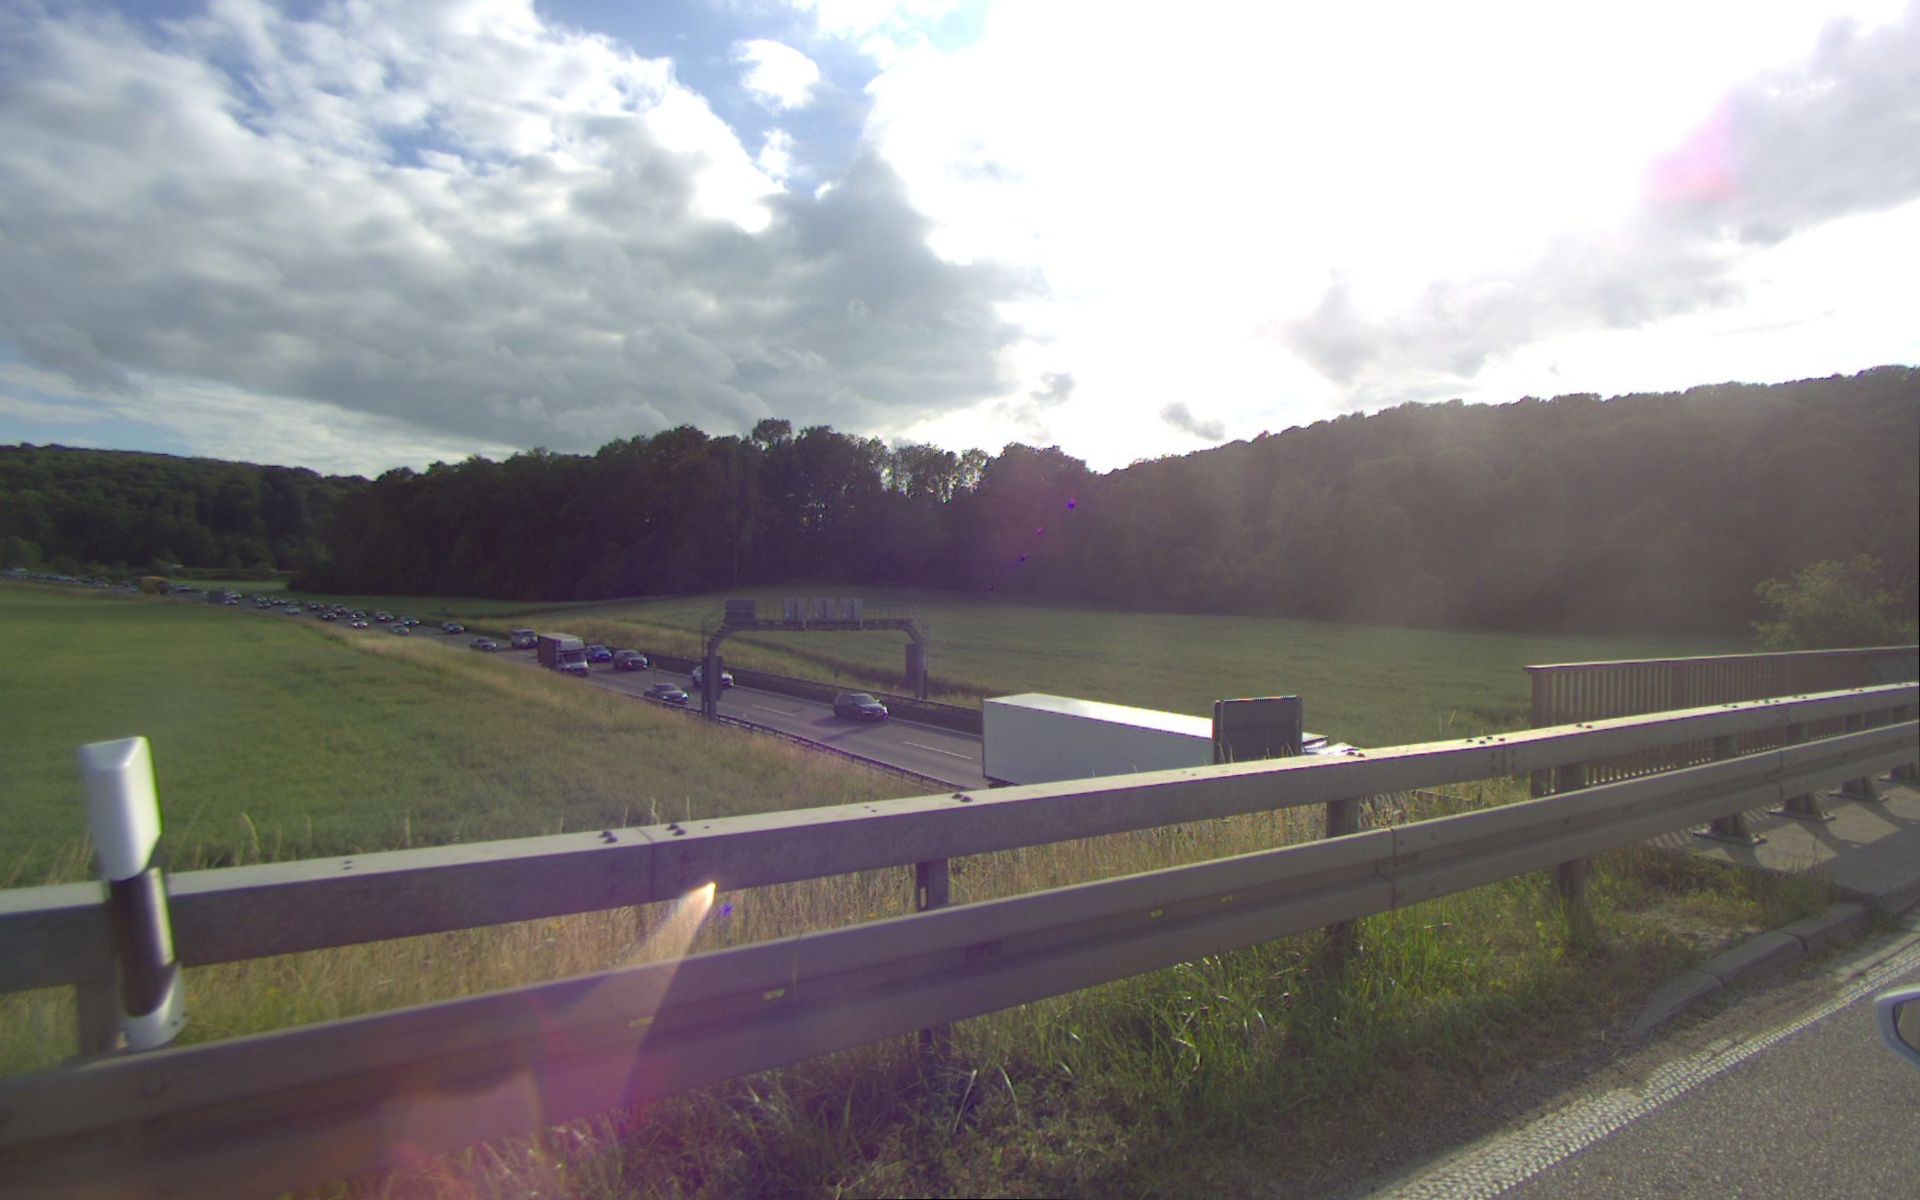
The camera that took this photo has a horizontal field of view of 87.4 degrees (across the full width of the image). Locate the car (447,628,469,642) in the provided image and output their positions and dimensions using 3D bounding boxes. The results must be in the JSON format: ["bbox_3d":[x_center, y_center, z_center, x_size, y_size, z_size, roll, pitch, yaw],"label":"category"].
[{"bbox_3d":[-67.630,4.669,135.365,1.788,1.608,3.952,2,0,-40],"label":"car"}]

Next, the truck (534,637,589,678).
[{"bbox_3d":[-34.654,4.976,87.207,2.105,3.450,8.403,1,-3,-38],"label":"truck"}]

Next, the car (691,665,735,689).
[{"bbox_3d":[-18.788,5.817,76.204,1.812,1.671,3.957,1,-2,-38],"label":"car"}]

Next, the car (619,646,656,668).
[{"bbox_3d":[-28.810,5.051,89.660,1.812,1.672,3.956,1,0,-38],"label":"car"}]

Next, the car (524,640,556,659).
[{"bbox_3d":[-45.982,5.367,109.892,1.985,1.750,3.952,7,-3,-40],"label":"car"}]

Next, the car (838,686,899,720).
[{"bbox_3d":[-5.460,6.107,59.775,1.807,1.555,3.958,2,0,-37],"label":"car"}]

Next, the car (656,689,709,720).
[{"bbox_3d":[-18.492,6.921,66.836,1.973,1.736,3.956,2,-3,-39],"label":"car"}]

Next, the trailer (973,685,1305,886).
[{"bbox_3d":[5.448,5.766,34.399,3.002,4.529,12.597,-3,2,-36],"label":"trailer"}]

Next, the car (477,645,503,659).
[{"bbox_3d":[-50.487,5.563,107.844,1.701,1.350,3.957,1,0,-38],"label":"car"}]

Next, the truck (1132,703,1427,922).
[{"bbox_3d":[9.008,5.771,29.368,3.000,4.529,7.973,-3,2,-36],"label":"truck"}]

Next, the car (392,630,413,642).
[{"bbox_3d":[-74.266,4.827,133.796,1.813,1.462,3.954,1,0,-40],"label":"car"}]
